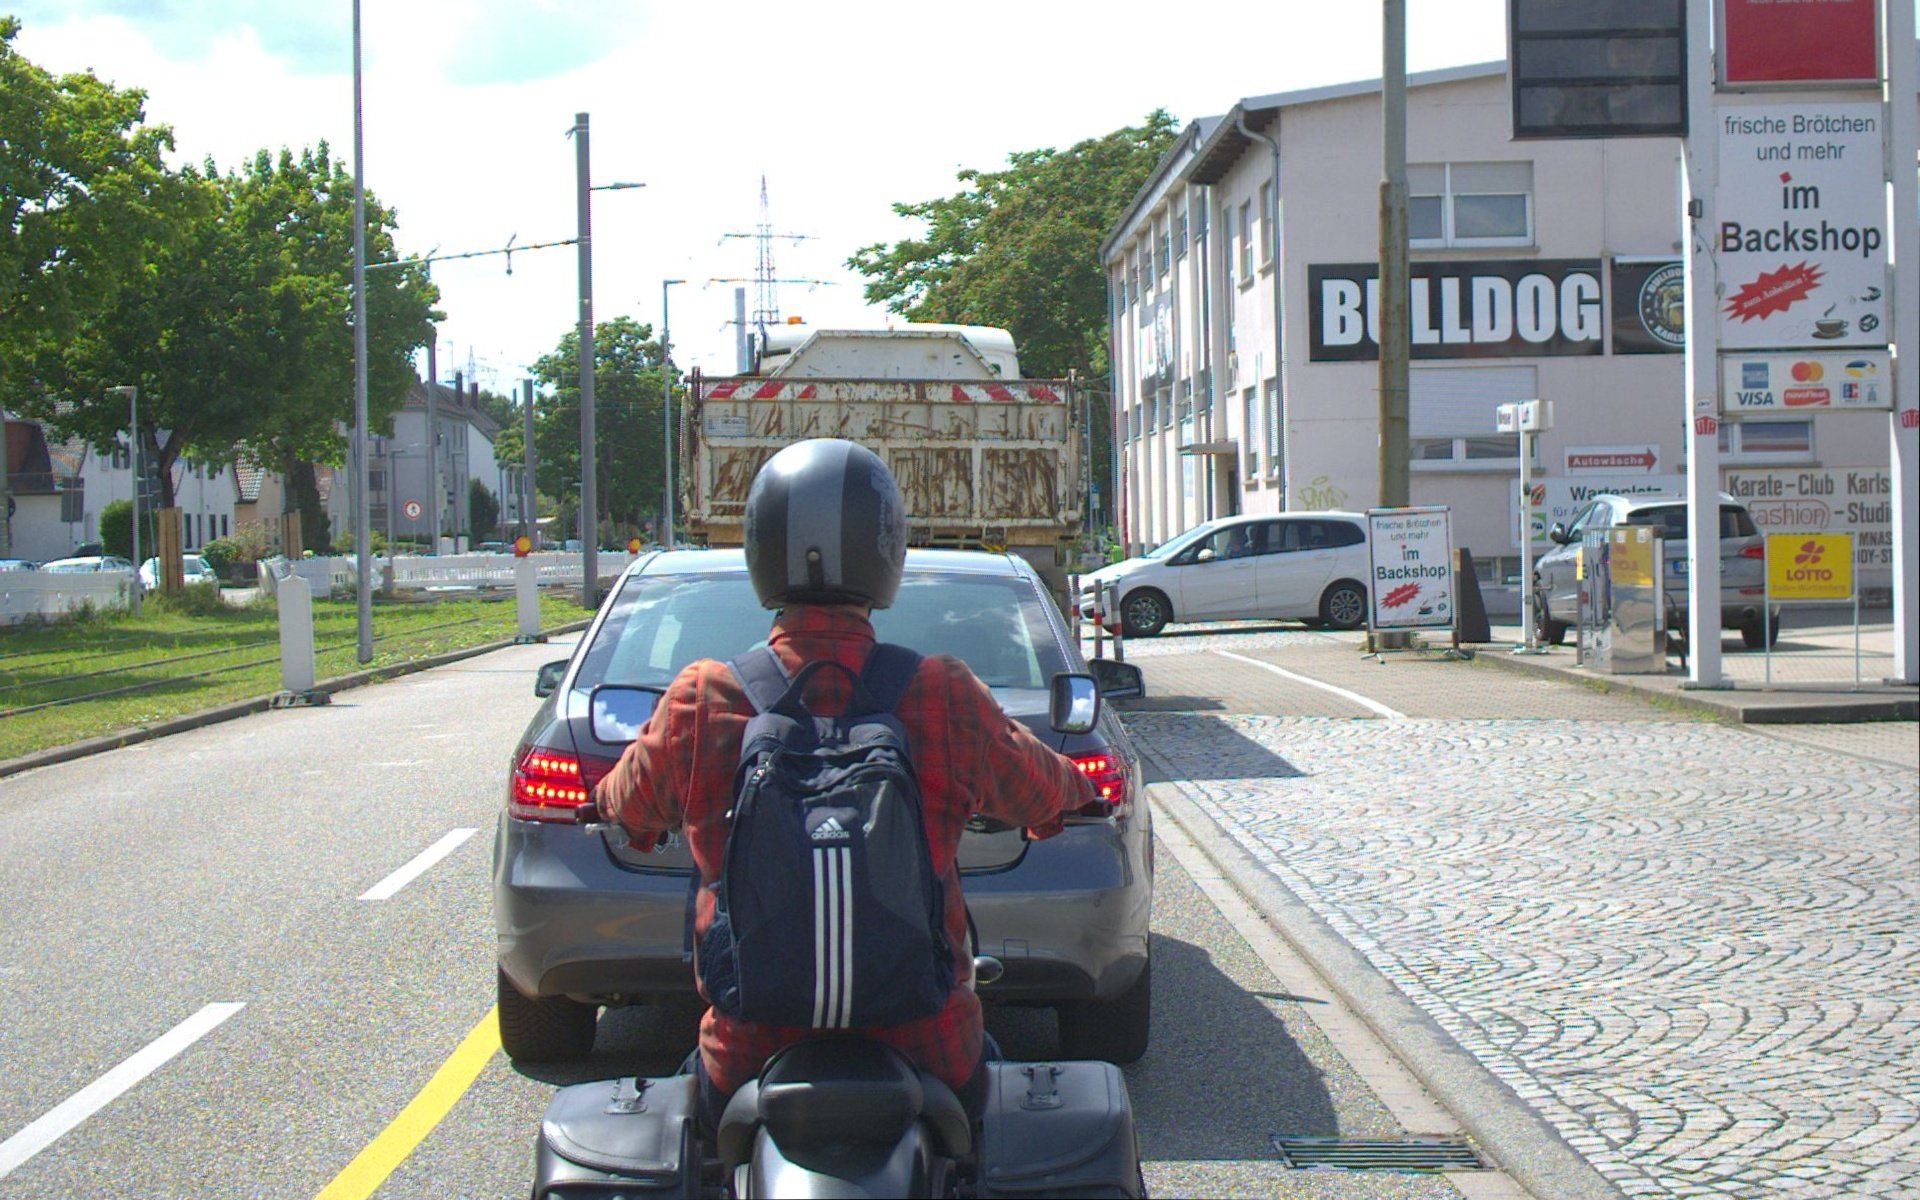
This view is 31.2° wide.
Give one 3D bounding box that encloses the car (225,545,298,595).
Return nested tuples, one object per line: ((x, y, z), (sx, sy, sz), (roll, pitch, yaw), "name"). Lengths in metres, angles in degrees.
((-25.419, -1.105, 125.249), (1.776, 1.717, 4.128), (-1, 1, 0), "car")

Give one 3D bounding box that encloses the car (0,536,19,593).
((-30.045, -1.067, 104.413), (1.776, 1.717, 4.128), (-1, 1, 0), "car")

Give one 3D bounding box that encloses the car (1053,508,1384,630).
((3.517, -0.441, 47.065), (4.229, 1.537, 1.673), (-1, 1, -8), "car")

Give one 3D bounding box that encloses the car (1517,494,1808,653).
((7.378, -0.310, 36.528), (1.667, 1.557, 4.245), (-1, 1, -8), "car")

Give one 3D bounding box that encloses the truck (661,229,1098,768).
((-0.543, -0.719, 25.371), (2.638, 3.285, 8.057), (-1, 1, -1), "truck")

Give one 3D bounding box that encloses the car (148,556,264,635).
((-17.498, -0.136, 79.967), (1.776, 1.717, 4.128), (-1, 1, 0), "car")

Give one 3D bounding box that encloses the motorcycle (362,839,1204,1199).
((-0.213, 0.952, 5.346), (0.979, 0.894, 2.653), (-1, 1, -1), "motorcycle")

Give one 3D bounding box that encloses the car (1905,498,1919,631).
((11.733, -0.385, 37.097), (1.806, 1.498, 3.834), (-1, 1, -3), "car")

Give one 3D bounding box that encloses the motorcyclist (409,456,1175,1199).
((-0.217, 0.609, 5.034), (0.979, 1.597, 1.088), (-1, 1, -1), "motorcyclist")

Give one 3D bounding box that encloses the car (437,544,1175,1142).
((-0.408, 0.576, 10.593), (1.823, 1.447, 4.000), (1, 1, -1), "car")
